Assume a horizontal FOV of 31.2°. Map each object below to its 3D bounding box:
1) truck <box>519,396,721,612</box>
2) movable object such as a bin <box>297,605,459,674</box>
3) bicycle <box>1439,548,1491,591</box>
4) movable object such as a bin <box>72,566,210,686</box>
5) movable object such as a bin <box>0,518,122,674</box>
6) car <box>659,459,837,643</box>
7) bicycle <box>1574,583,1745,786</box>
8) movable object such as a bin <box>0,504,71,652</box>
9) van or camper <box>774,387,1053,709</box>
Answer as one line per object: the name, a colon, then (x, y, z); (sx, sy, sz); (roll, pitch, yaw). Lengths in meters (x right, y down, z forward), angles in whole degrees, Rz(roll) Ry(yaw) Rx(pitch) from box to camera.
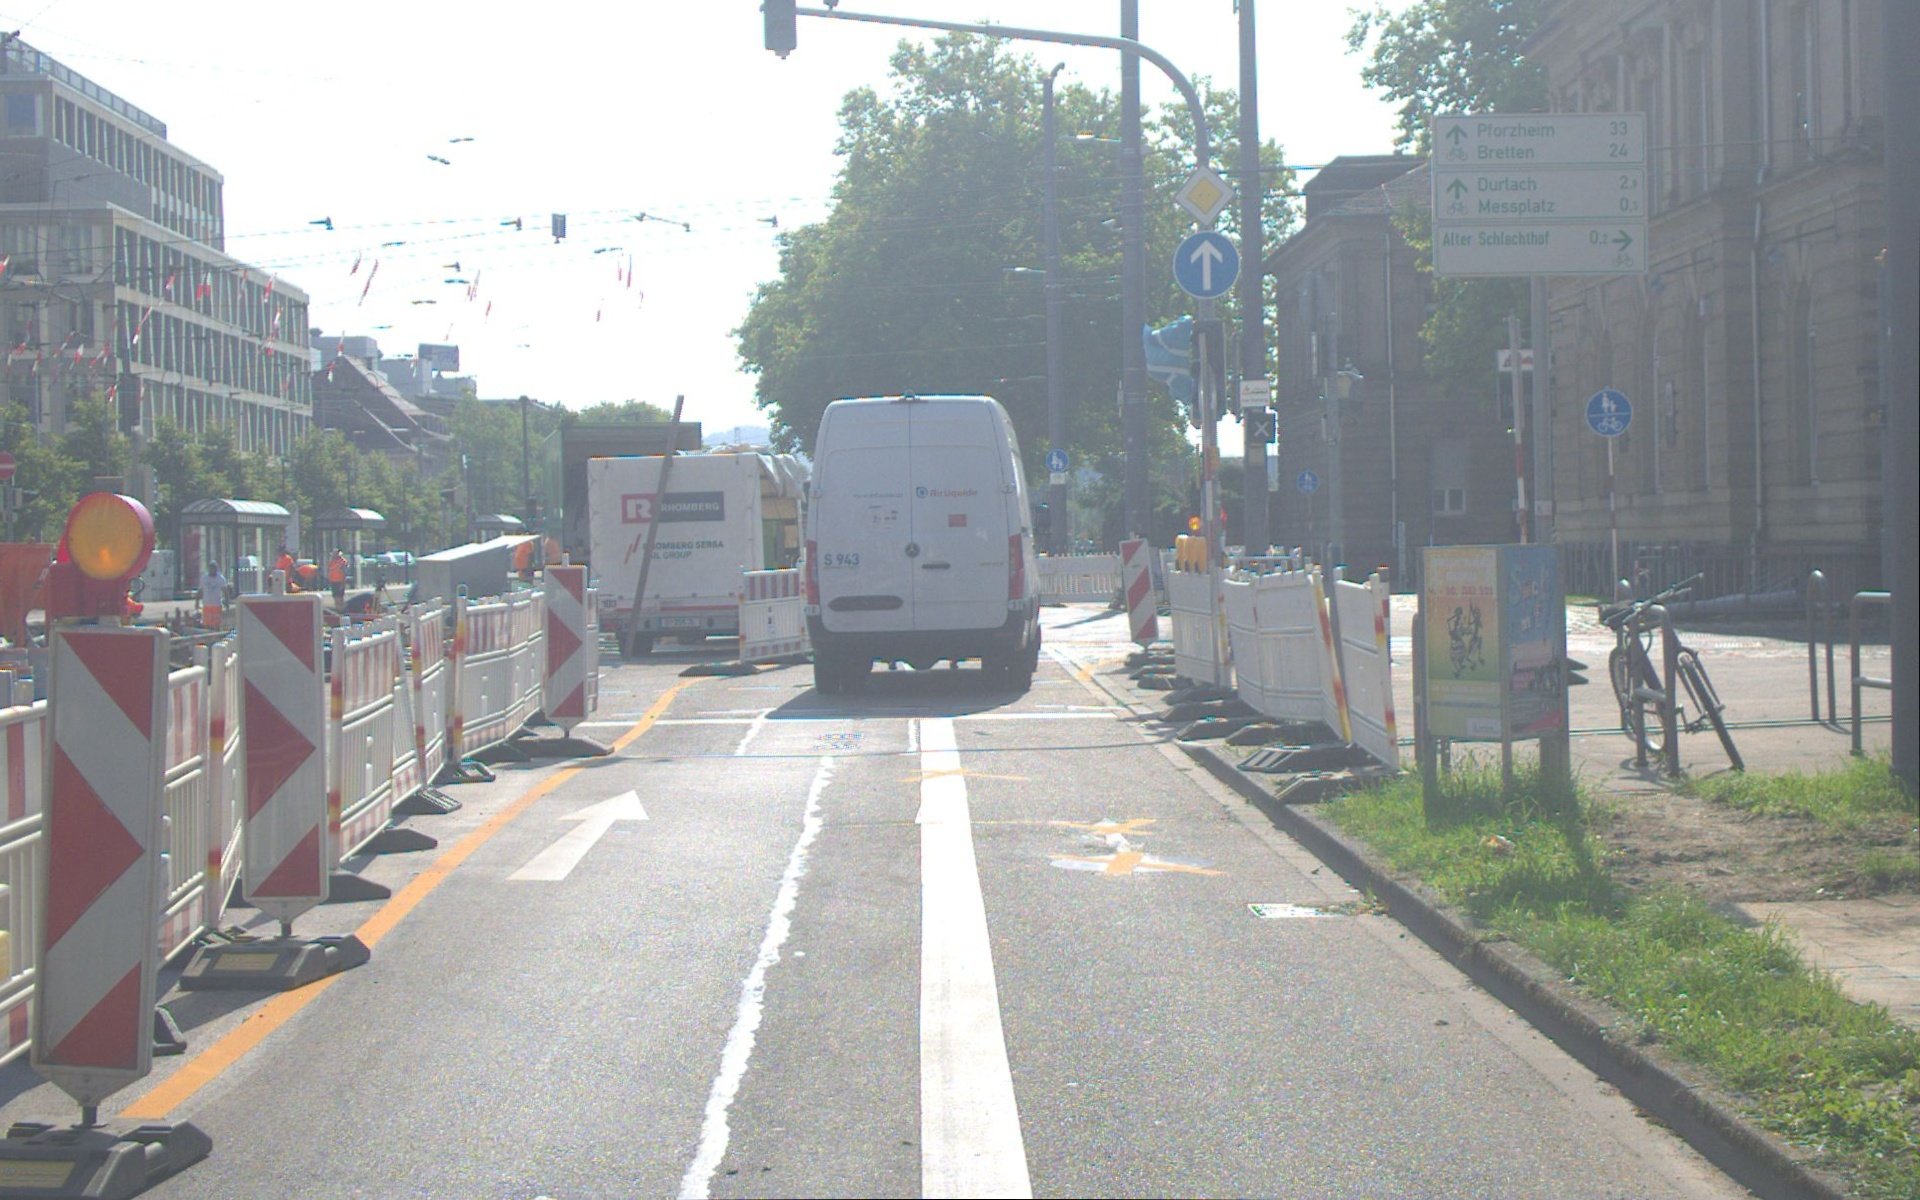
truck: (-6.701, -1.838, 66.674); (2.791, 3.899, 8.421); (0, 1, -13)
movable object such as a bin: (-6.456, 0.439, 38.095); (1.721, 0.711, 0.716); (-1, 1, 33)
bicycle: (12.598, -0.759, 85.801); (0.491, 0.996, 1.819); (-2, 3, -20)
movable object such as a bin: (-8.663, 0.256, 36.471); (0.887, 1.207, 2.212); (-1, 1, 1)
movable object such as a bin: (-10.038, -0.048, 36.118); (1.600, 1.553, 3.286); (-1, 1, 1)
car: (-2.980, -0.701, 49.741); (2.207, 2.416, 7.200); (-2, 1, -1)
bicycle: (3.720, 0.427, 18.372); (0.538, 1.003, 1.571); (-3, 1, -1)
movable object such as a bin: (-20.876, -0.435, 69.770); (3.613, 2.948, 8.477); (0, 0, -1)
van or camper: (-0.330, -0.527, 32.443); (2.115, 2.672, 5.250); (-3, 1, 3)
